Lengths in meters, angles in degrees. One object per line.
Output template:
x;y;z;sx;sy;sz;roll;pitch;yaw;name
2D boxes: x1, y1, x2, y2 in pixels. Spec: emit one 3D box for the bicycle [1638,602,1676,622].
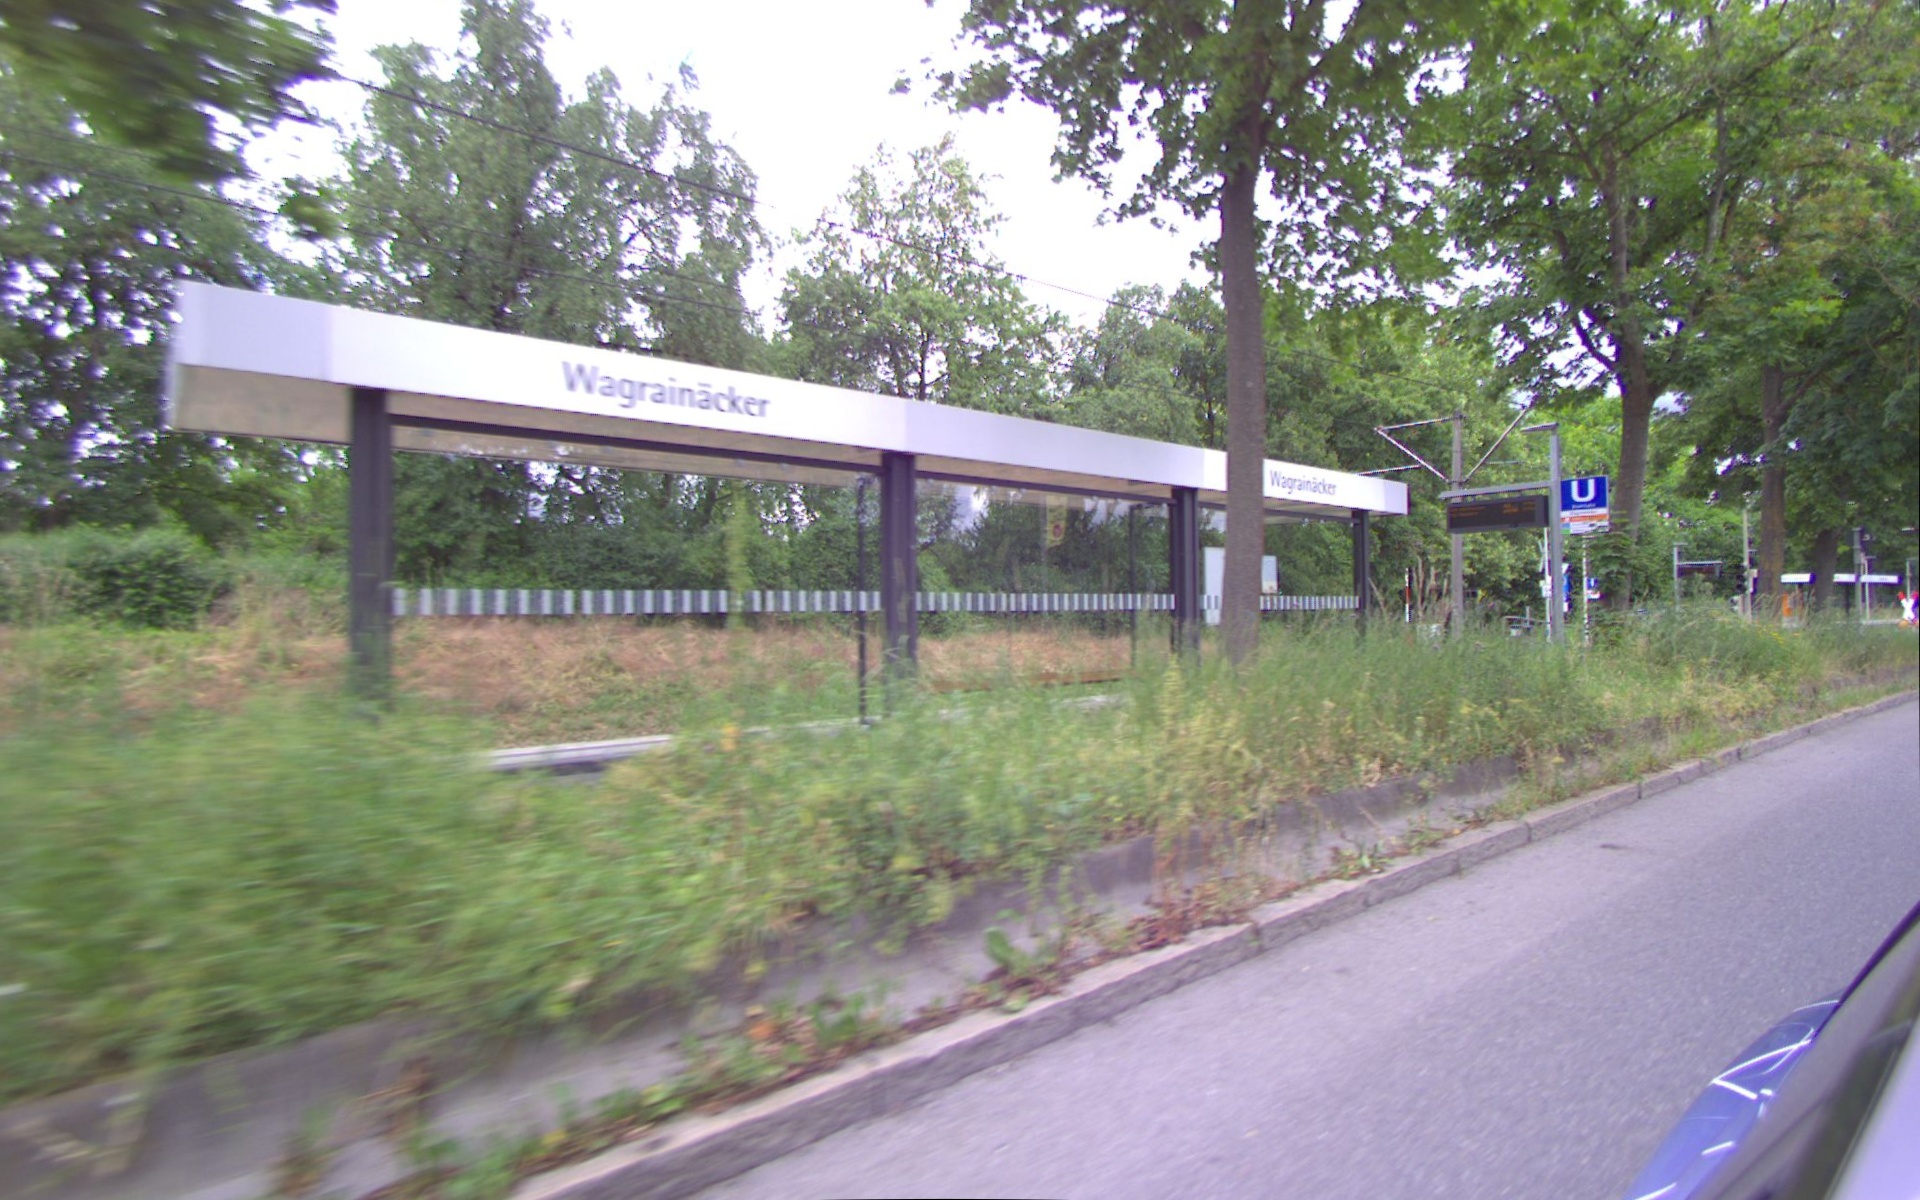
35.924;0.612;52.190;0.441;0.986;1.513;1;-3;-35;bicycle
